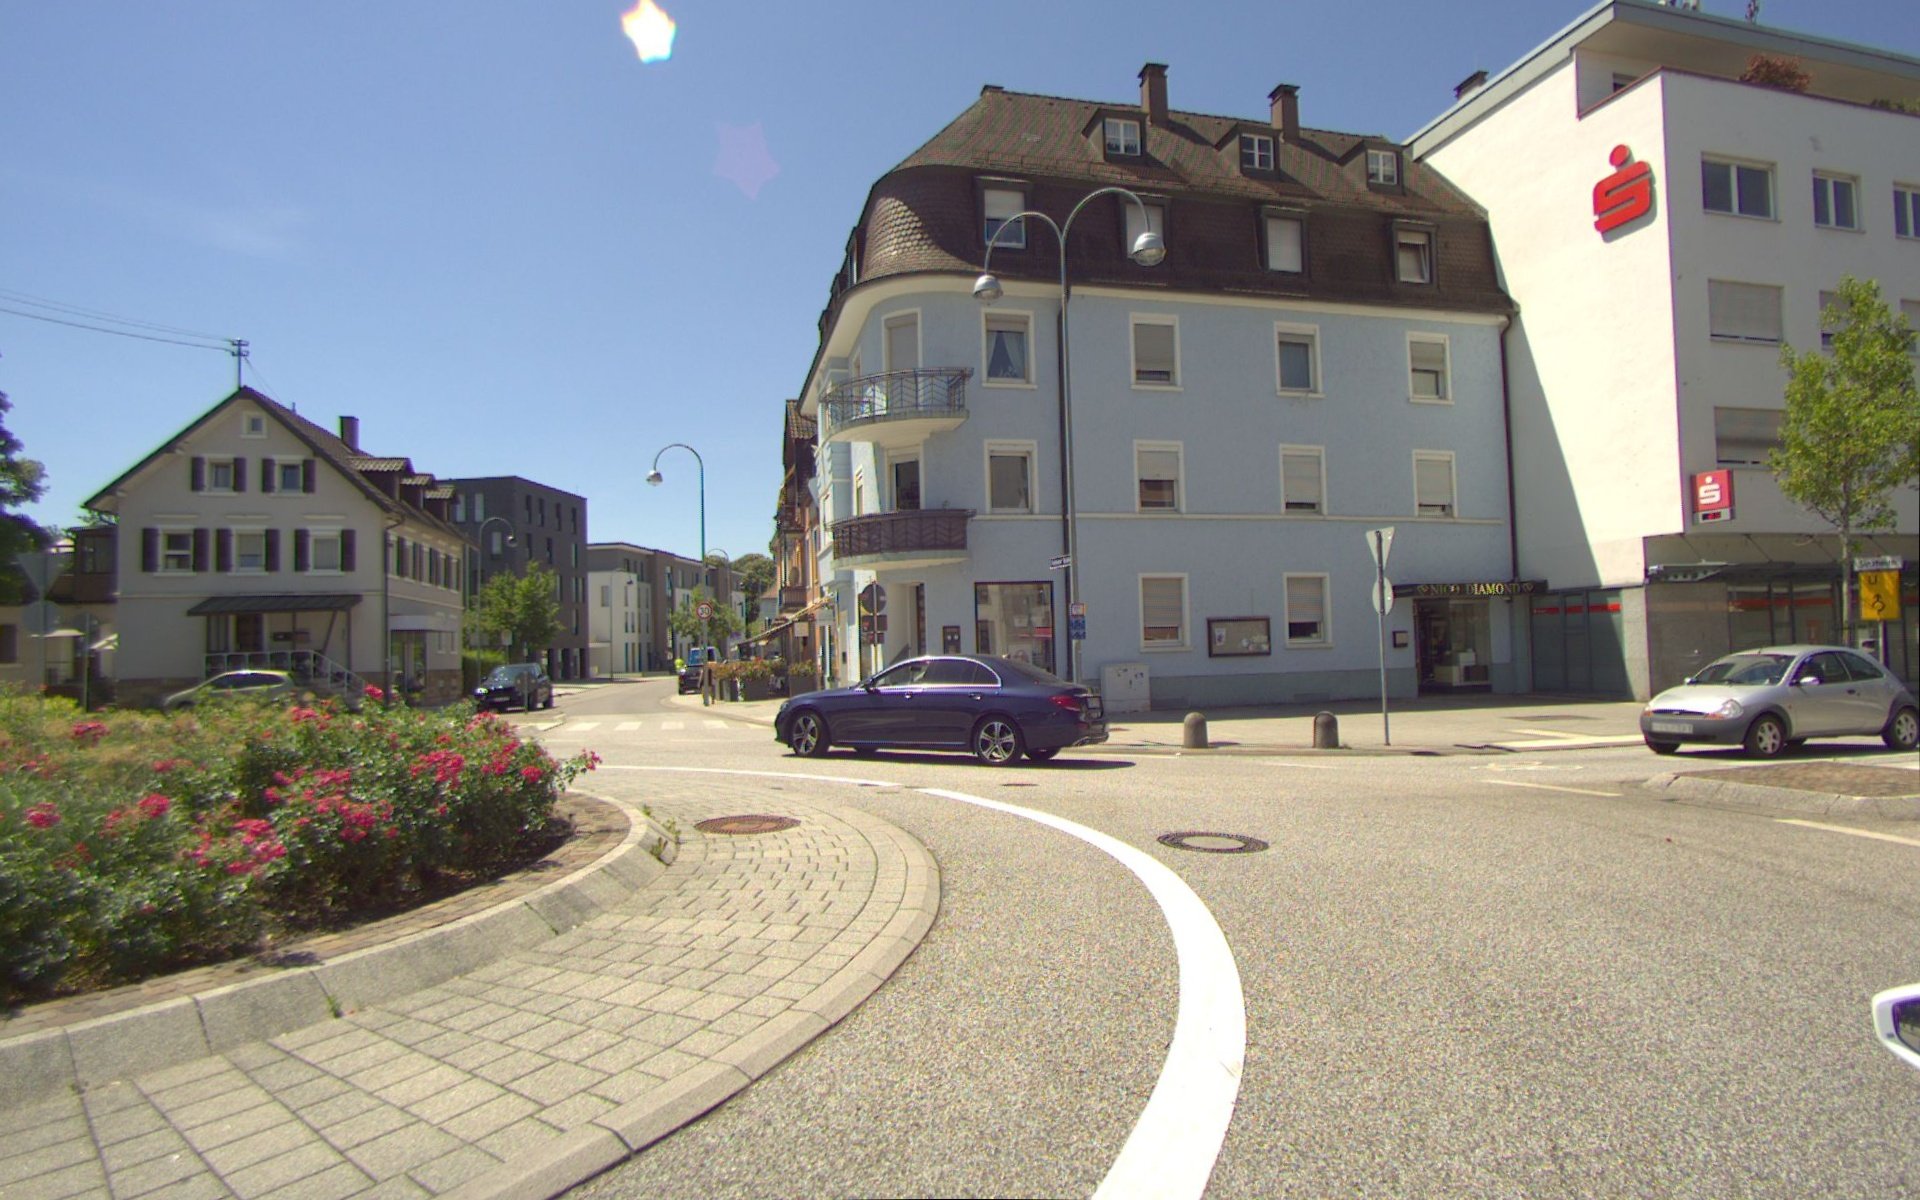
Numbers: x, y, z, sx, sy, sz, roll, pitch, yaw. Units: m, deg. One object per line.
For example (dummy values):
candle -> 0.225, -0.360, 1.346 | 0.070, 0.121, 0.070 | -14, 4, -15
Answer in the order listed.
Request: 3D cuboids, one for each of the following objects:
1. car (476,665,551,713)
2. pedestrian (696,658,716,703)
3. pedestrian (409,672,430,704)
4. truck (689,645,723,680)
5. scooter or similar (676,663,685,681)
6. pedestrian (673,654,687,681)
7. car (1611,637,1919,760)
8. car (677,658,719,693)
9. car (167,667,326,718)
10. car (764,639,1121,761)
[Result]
car -> -16.285, 3.211, 36.795 | 1.724, 1.566, 3.587 | -1, -3, -11
pedestrian -> -9.087, 2.874, 35.949 | 0.618, 1.544, 0.801 | -3, -2, -16
pedestrian -> -22.318, 3.628, 41.477 | 0.674, 1.302, 0.579 | 0, -3, -17
truck -> -17.955, 4.420, 71.146 | 1.926, 2.400, 4.331 | 1, -3, -10
scooter or similar -> -22.305, 5.722, 80.124 | 0.518, 1.391, 1.346 | -1, -3, -7
pedestrian -> -22.331, 5.379, 80.195 | 0.904, 2.056, 0.899 | -1, -2, -8
car -> 11.254, 1.310, 13.876 | 3.726, 1.477, 1.701 | 0, -4, -15
car -> -13.099, 3.762, 50.387 | 1.653, 1.566, 3.941 | -3, -3, -10
car -> -24.057, 3.103, 33.995 | 3.930, 1.616, 1.792 | 0, -4, -12
car -> -0.262, 1.406, 14.206 | 4.620, 1.496, 1.999 | -3, -4, 24
